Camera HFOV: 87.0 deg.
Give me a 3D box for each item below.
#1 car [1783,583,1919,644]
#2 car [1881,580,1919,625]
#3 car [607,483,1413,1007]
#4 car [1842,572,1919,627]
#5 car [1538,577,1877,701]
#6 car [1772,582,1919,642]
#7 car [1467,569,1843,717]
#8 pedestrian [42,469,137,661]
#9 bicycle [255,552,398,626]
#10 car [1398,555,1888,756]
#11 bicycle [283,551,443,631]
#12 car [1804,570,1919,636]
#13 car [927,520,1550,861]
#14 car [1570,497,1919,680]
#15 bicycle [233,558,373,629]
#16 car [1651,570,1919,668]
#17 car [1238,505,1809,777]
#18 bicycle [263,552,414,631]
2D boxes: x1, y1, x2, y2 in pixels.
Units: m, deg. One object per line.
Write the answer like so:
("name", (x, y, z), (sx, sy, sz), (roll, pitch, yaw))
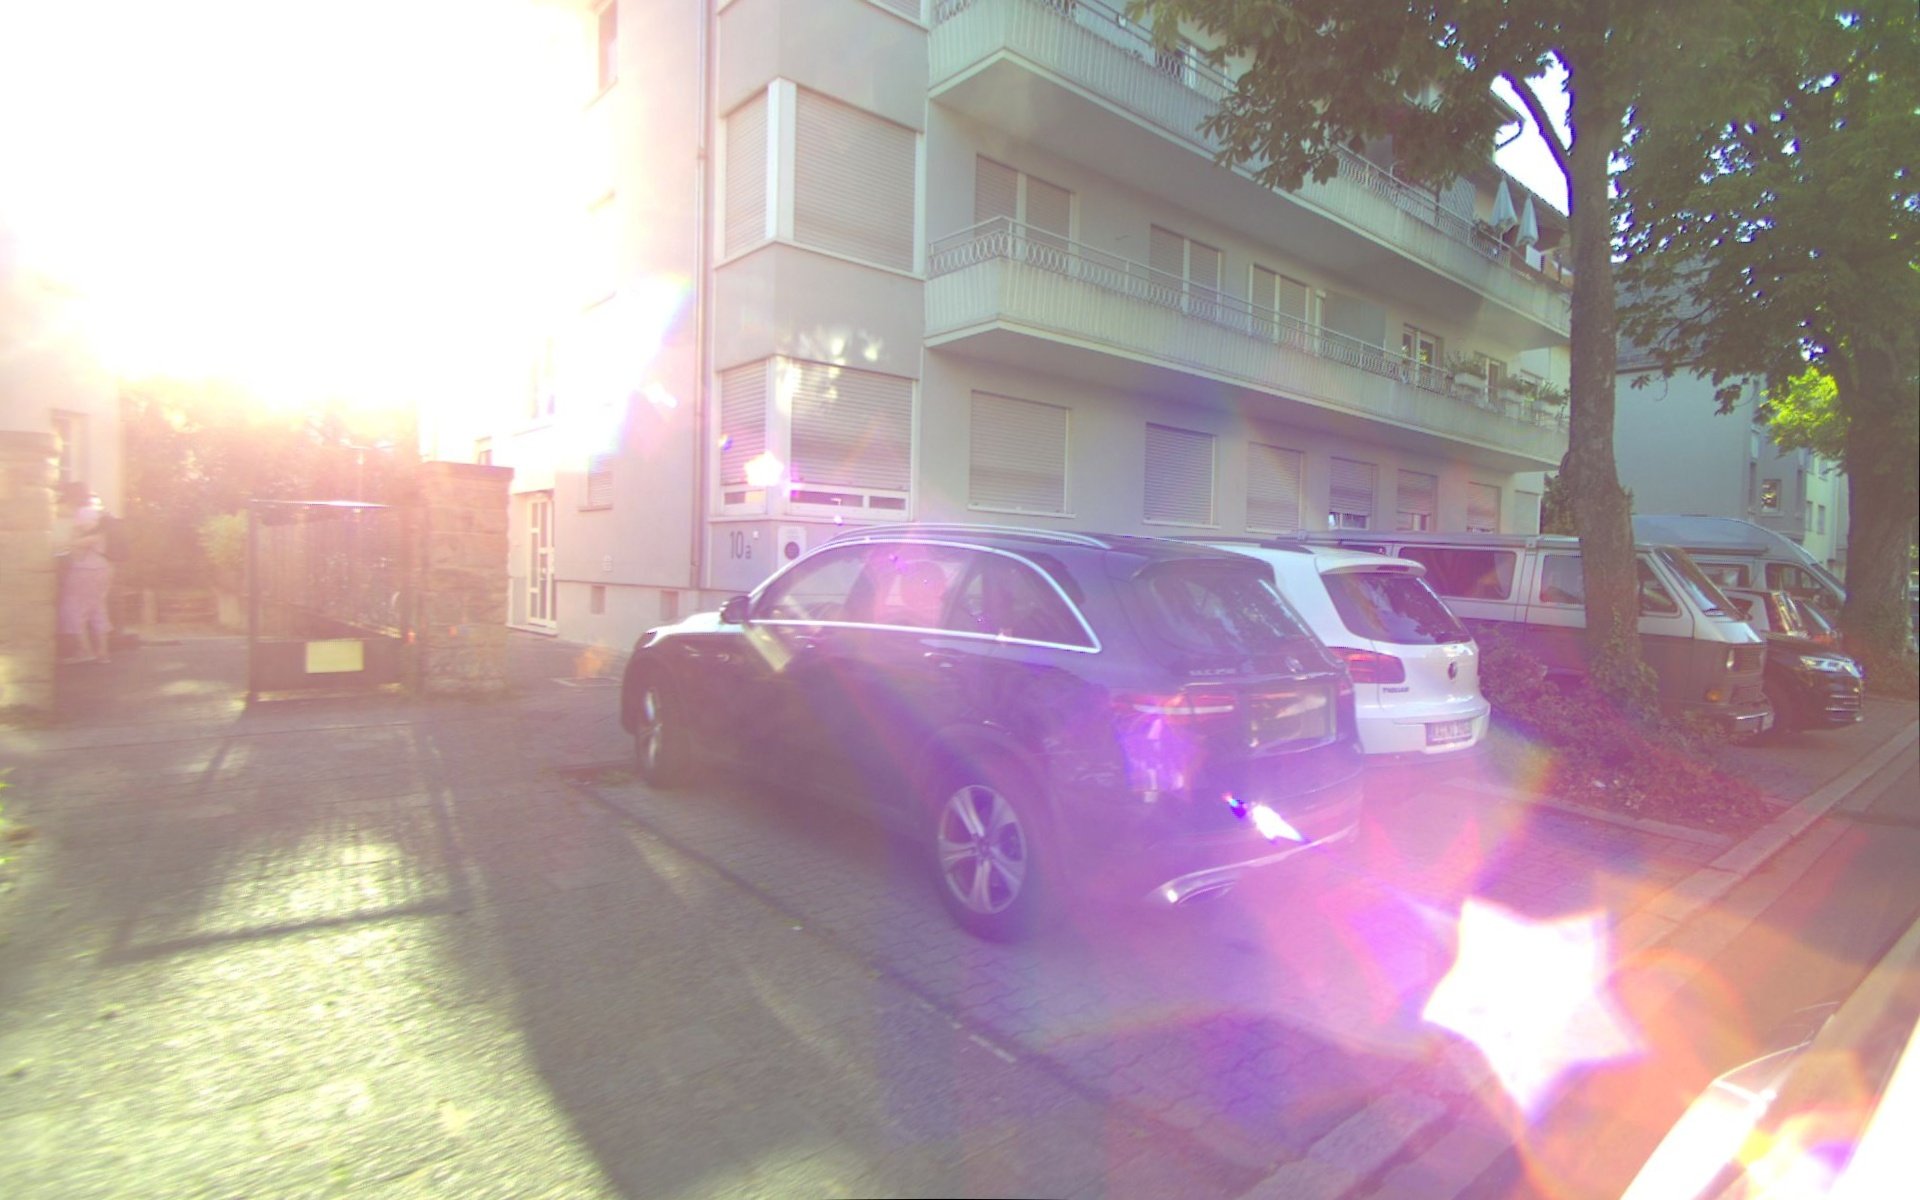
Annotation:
("car", (24.818, 0.345, 27.570), (1.728, 1.444, 3.410), (0, 3, -41))
("car", (39.002, 0.178, 39.531), (1.758, 1.725, 4.211), (0, 2, -37))
("car", (-0.138, 0.340, 5.439), (1.677, 1.703, 4.338), (0, 3, -43))
("car", (36.274, 0.023, 37.725), (1.915, 1.960, 4.819), (0, 3, -40))
("car", (10.840, 0.454, 14.869), (1.729, 1.448, 3.727), (-2, 4, -42))
("car", (26.592, 0.332, 29.521), (1.729, 1.560, 4.306), (0, 3, -44))
("car", (8.909, 0.420, 13.222), (1.610, 1.573, 3.730), (-1, 3, -39))
("pedestrian", (-8.261, -0.324, 9.617), (0.663, 1.735, 0.594), (0, 1, -40))
("bicycle", (-10.785, -0.199, 17.329), (0.742, 1.184, 2.077), (1, 1, 19))
("car", (7.258, 0.418, 11.072), (4.174, 1.744, 1.739), (3, 3, 42))
("bicycle", (-8.870, -0.144, 15.139), (0.742, 1.100, 2.077), (1, 1, 19))
("car", (28.838, 0.088, 31.047), (1.730, 1.907, 4.306), (-1, 3, -43))
("car", (1.629, 0.338, 7.119), (1.674, 1.703, 3.961), (1, 3, -38))
("car", (14.507, -0.320, 18.688), (2.041, 2.937, 5.102), (0, 3, -43))
("bicycle", (-11.698, -0.128, 18.105), (0.742, 1.184, 2.077), (1, 1, 19))
("car", (16.720, 0.304, 20.460), (1.729, 1.587, 4.197), (0, 4, -42))
("car", (5.197, 0.222, 9.857), (1.864, 2.038, 4.476), (0, 2, -42))
("bicycle", (-9.976, -0.155, 16.348), (0.742, 1.184, 2.077), (1, 1, 19))
